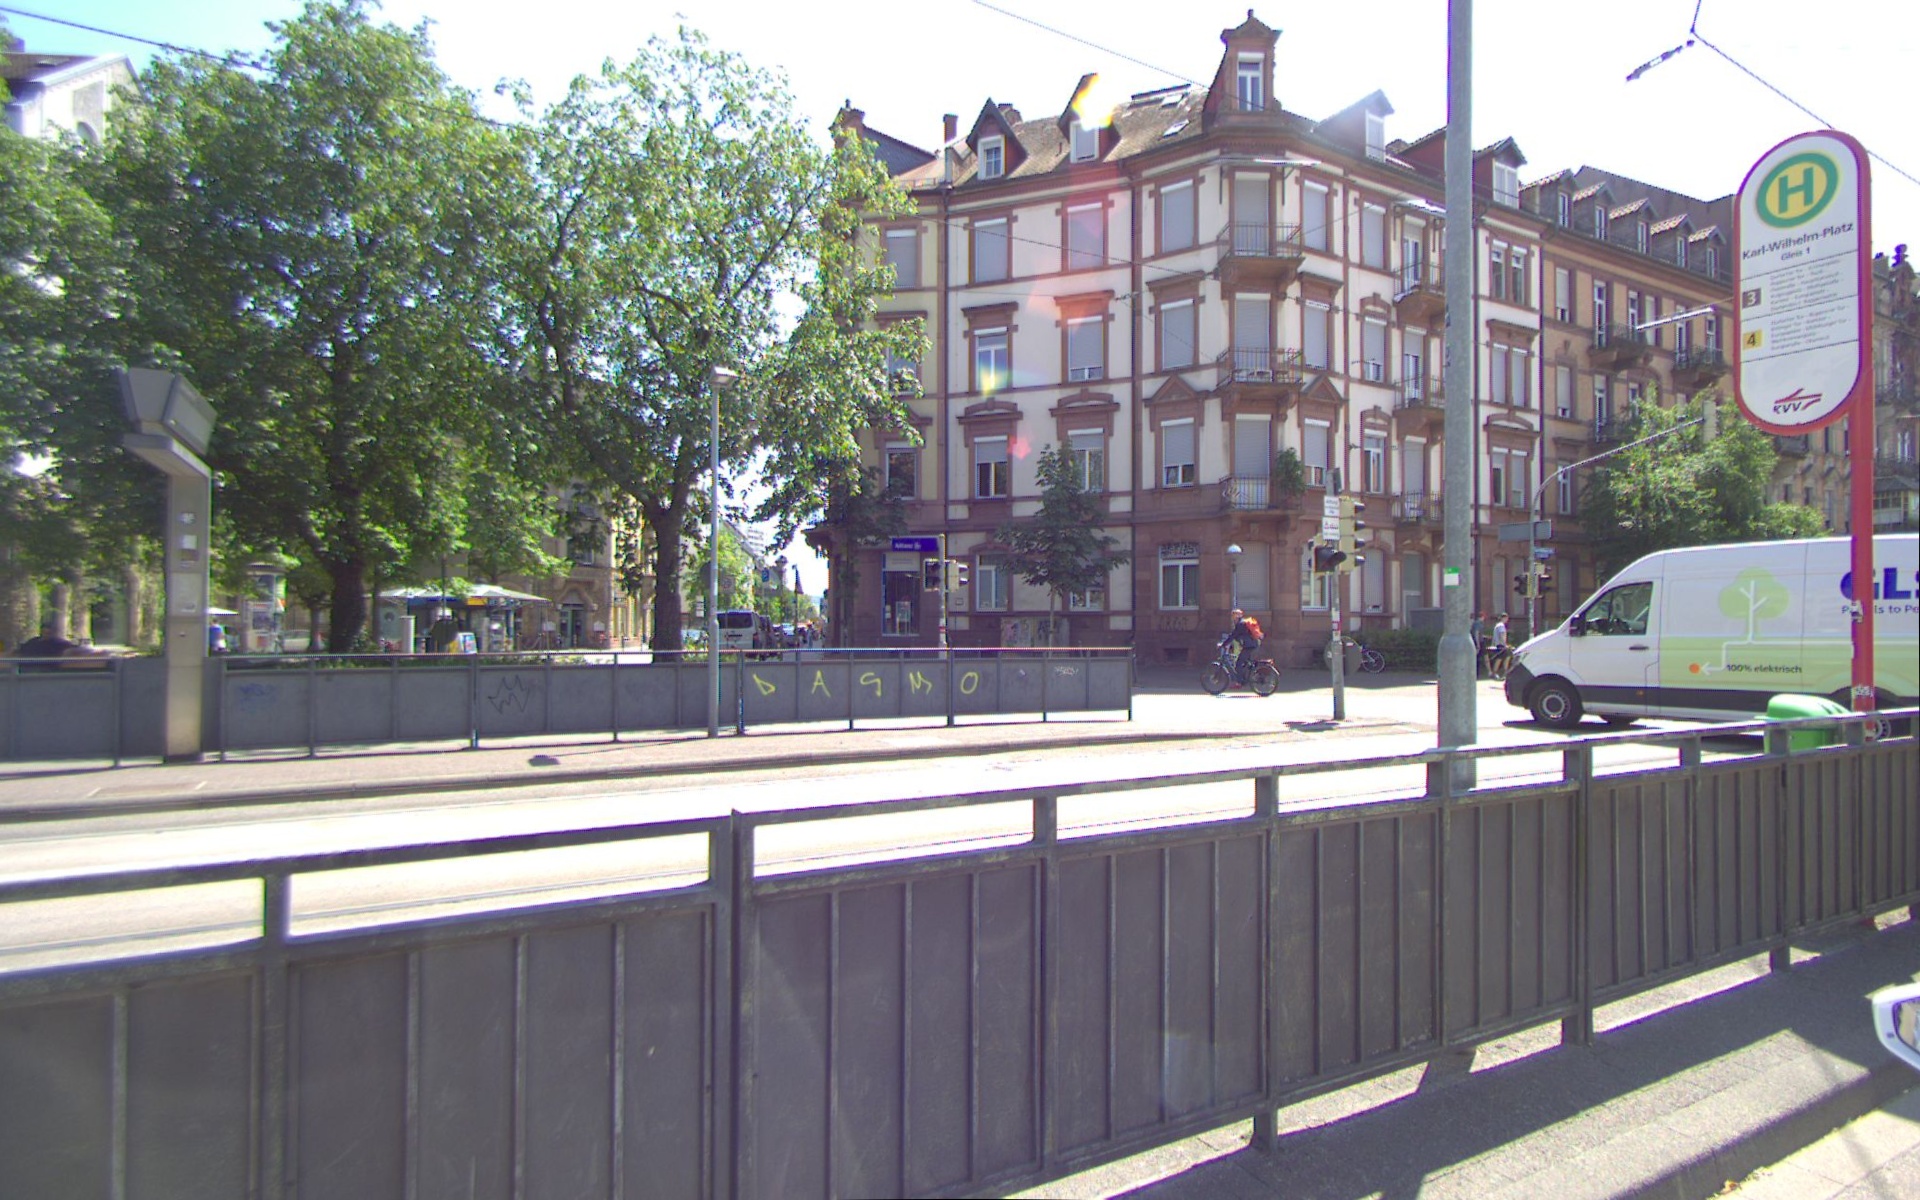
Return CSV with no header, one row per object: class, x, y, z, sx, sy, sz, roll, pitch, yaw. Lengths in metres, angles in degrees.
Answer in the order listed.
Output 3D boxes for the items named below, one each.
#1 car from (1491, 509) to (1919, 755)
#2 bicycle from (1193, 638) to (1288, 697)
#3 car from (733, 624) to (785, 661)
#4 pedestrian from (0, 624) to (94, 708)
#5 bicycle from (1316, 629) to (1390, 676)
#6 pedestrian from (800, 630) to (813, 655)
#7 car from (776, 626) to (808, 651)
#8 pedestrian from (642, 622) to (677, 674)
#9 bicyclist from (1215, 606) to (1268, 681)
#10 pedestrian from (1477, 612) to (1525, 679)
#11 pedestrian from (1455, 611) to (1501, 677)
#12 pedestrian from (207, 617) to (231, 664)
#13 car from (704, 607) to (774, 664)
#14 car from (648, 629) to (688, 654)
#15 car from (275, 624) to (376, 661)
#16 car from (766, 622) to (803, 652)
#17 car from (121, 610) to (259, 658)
car,10.545,0.437,13.498,2.247,2.708,5.784,2,-2,-29
bicycle,6.104,1.449,21.923,1.897,1.188,0.646,1,-1,39
car,-9.625,2.006,48.290,1.893,1.541,3.998,2,0,-4
pedestrian,-14.659,1.043,16.106,0.925,1.261,0.860,2,0,-24
bicycle,11.666,1.550,29.864,1.923,1.312,0.564,2,0,11
pedestrian,-10.021,2.766,65.528,0.790,1.632,0.731,0,-1,-4
car,-12.483,2.838,74.758,1.962,1.617,3.998,2,0,-4
pedestrian,-10.068,1.599,33.710,1.043,1.712,0.721,0,-1,-12
bicyclist,6.104,0.926,21.801,0.884,1.582,0.720,1,-1,37
pedestrian,15.070,1.256,28.005,0.857,1.847,0.817,0,1,-8
pedestrian,14.815,1.253,28.746,0.857,1.847,0.817,0,1,-8
pedestrian,-27.183,1.486,36.841,0.506,1.692,0.491,0,-1,-8
car,-8.328,1.295,38.218,1.962,1.970,3.998,2,0,-4
car,-20.659,2.913,71.164,1.846,1.617,3.998,2,0,-4
car,-32.075,2.160,50.891,3.920,1.730,1.761,2,0,-14
car,-10.373,2.172,59.454,1.684,1.617,3.998,2,0,-4
car,-31.188,1.368,40.815,3.932,1.814,1.994,2,0,-14
